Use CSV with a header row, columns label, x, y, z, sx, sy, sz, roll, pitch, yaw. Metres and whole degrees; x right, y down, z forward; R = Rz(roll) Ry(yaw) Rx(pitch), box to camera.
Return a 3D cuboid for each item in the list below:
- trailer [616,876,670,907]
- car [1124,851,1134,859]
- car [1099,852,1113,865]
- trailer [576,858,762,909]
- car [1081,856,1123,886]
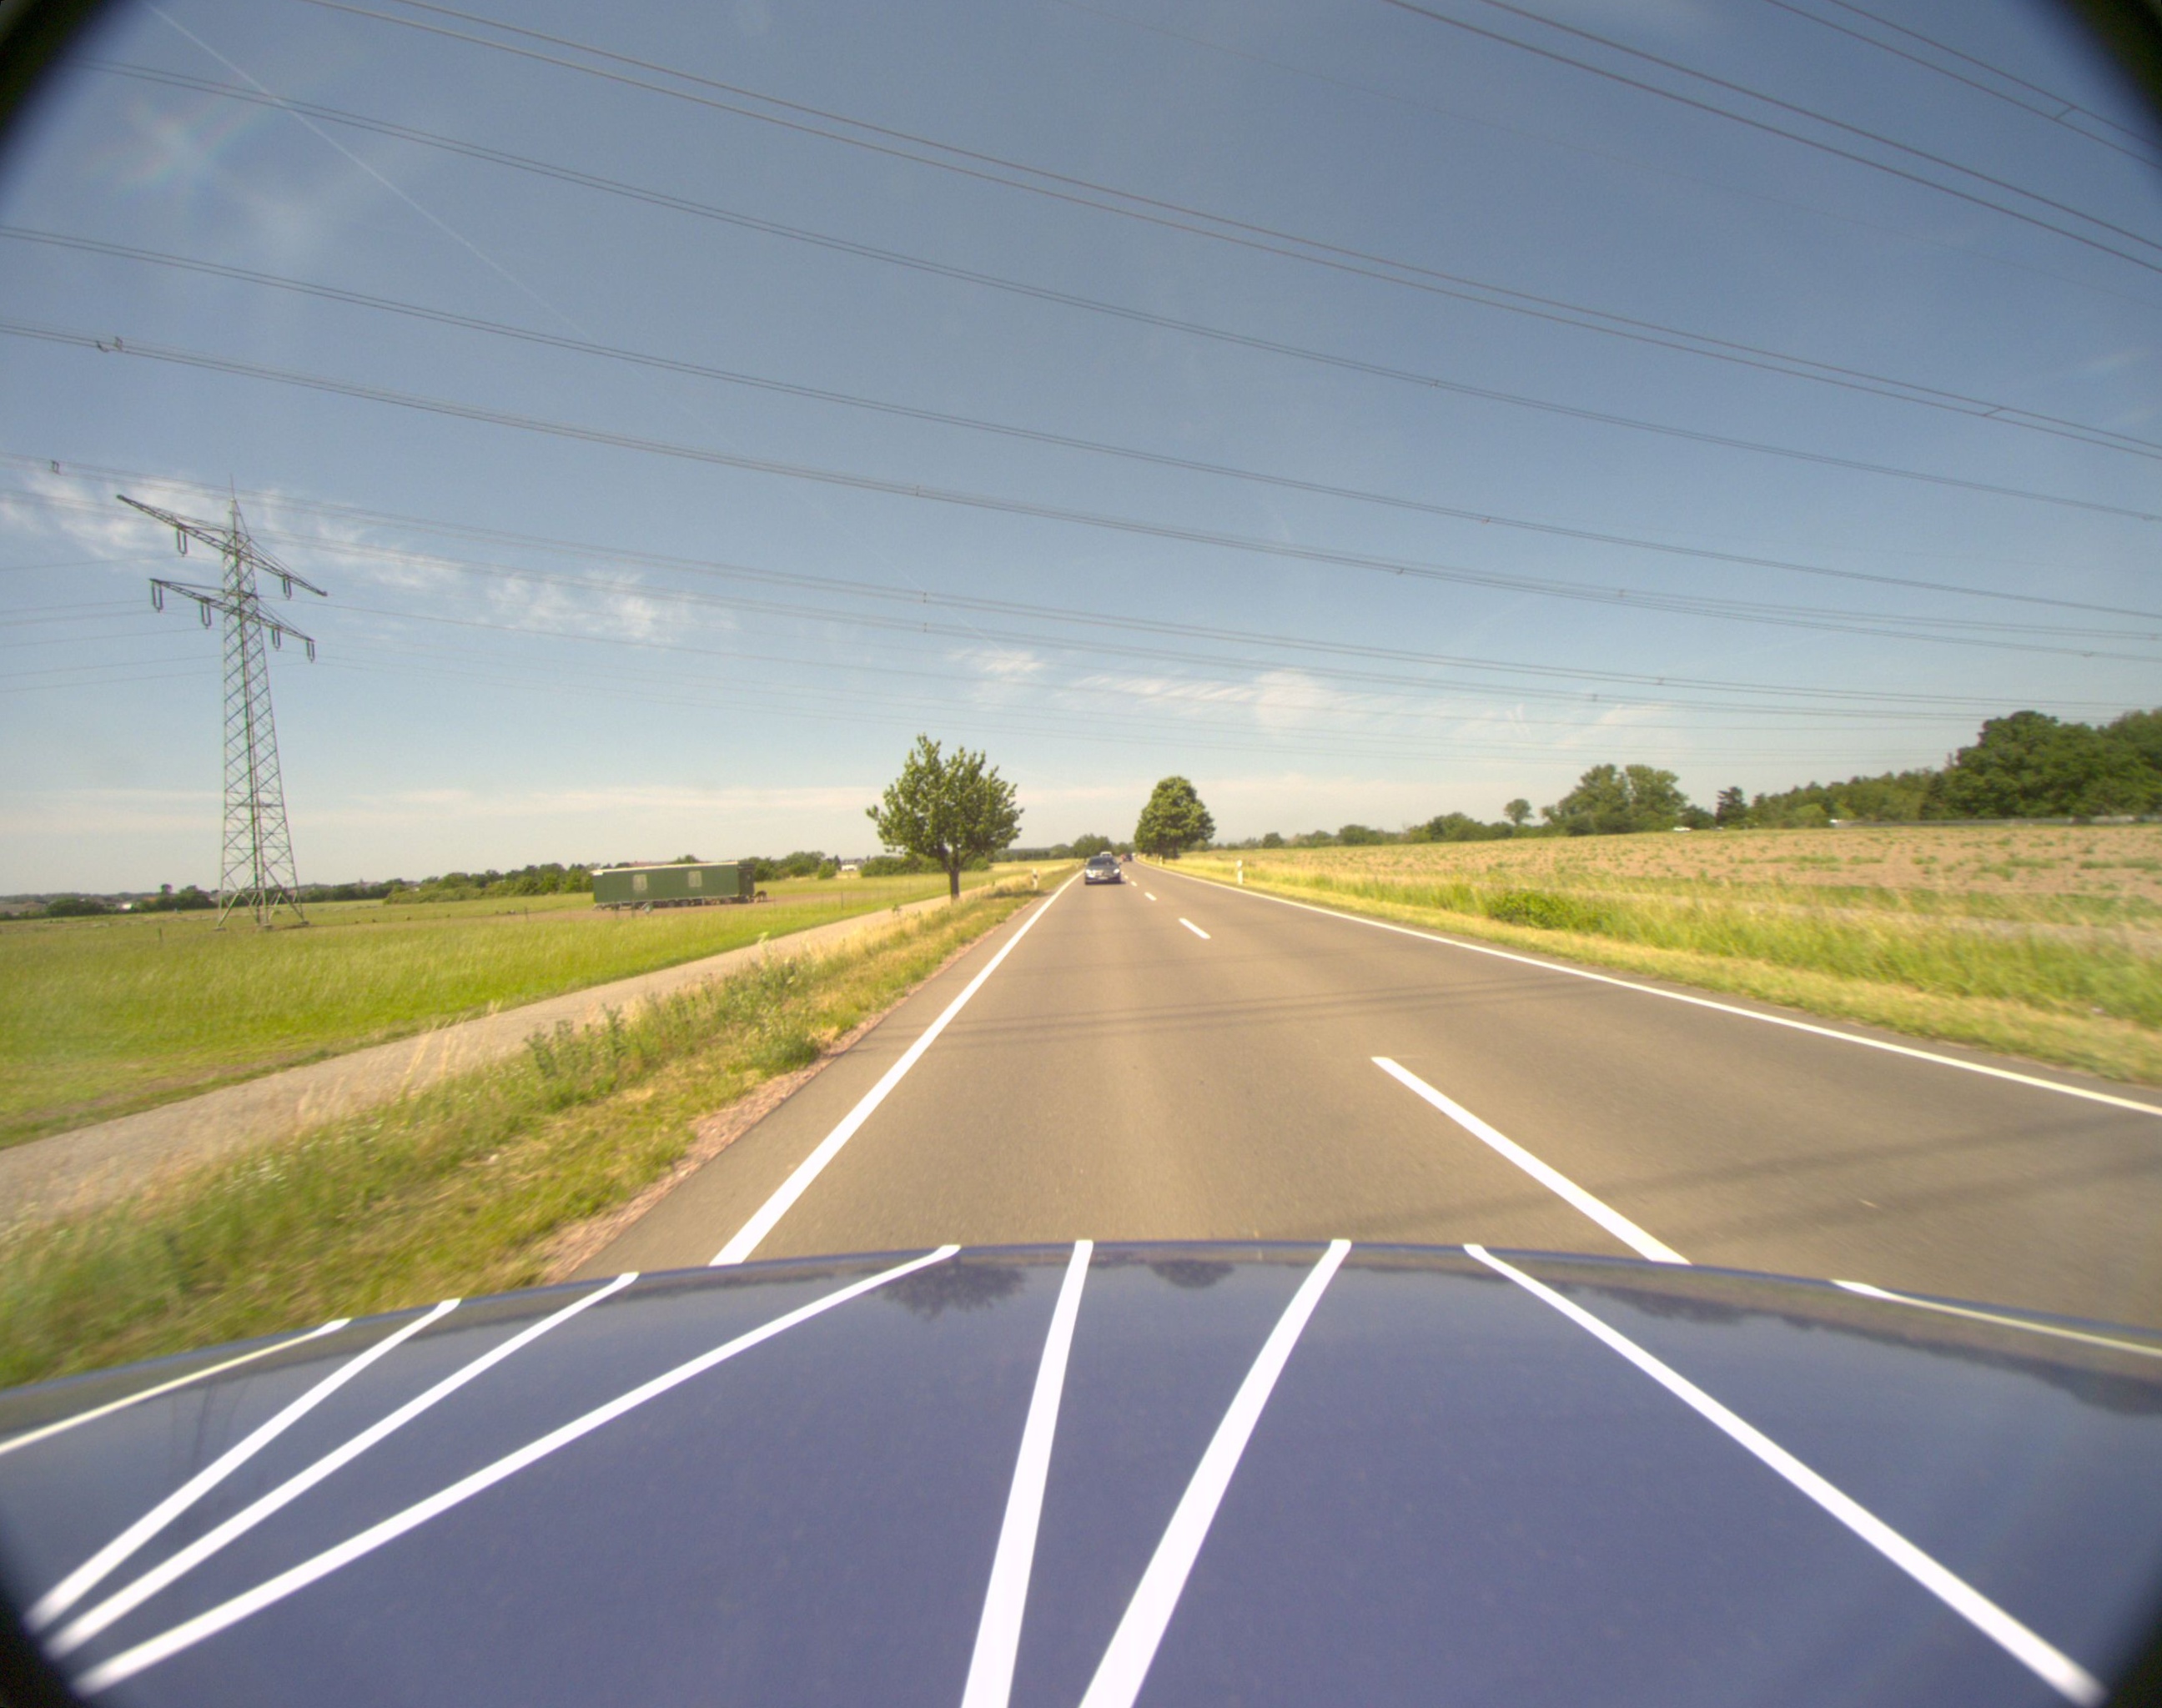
label,x,y,z,sx,sy,sz,roll,pitch,yaw
trailer,-38.077,3.218,66.091,3.415,2.448,2.038,-3,1,1
car,9.211,0.140,145.672,1.738,1.439,4.000,-2,1,3
car,3.888,0.693,120.297,1.998,1.907,4.206,-3,0,1
trailer,-34.065,2.391,63.177,13.542,3.455,3.276,-3,1,1
car,0.973,0.813,37.933,1.954,1.391,3.999,-1,0,0
